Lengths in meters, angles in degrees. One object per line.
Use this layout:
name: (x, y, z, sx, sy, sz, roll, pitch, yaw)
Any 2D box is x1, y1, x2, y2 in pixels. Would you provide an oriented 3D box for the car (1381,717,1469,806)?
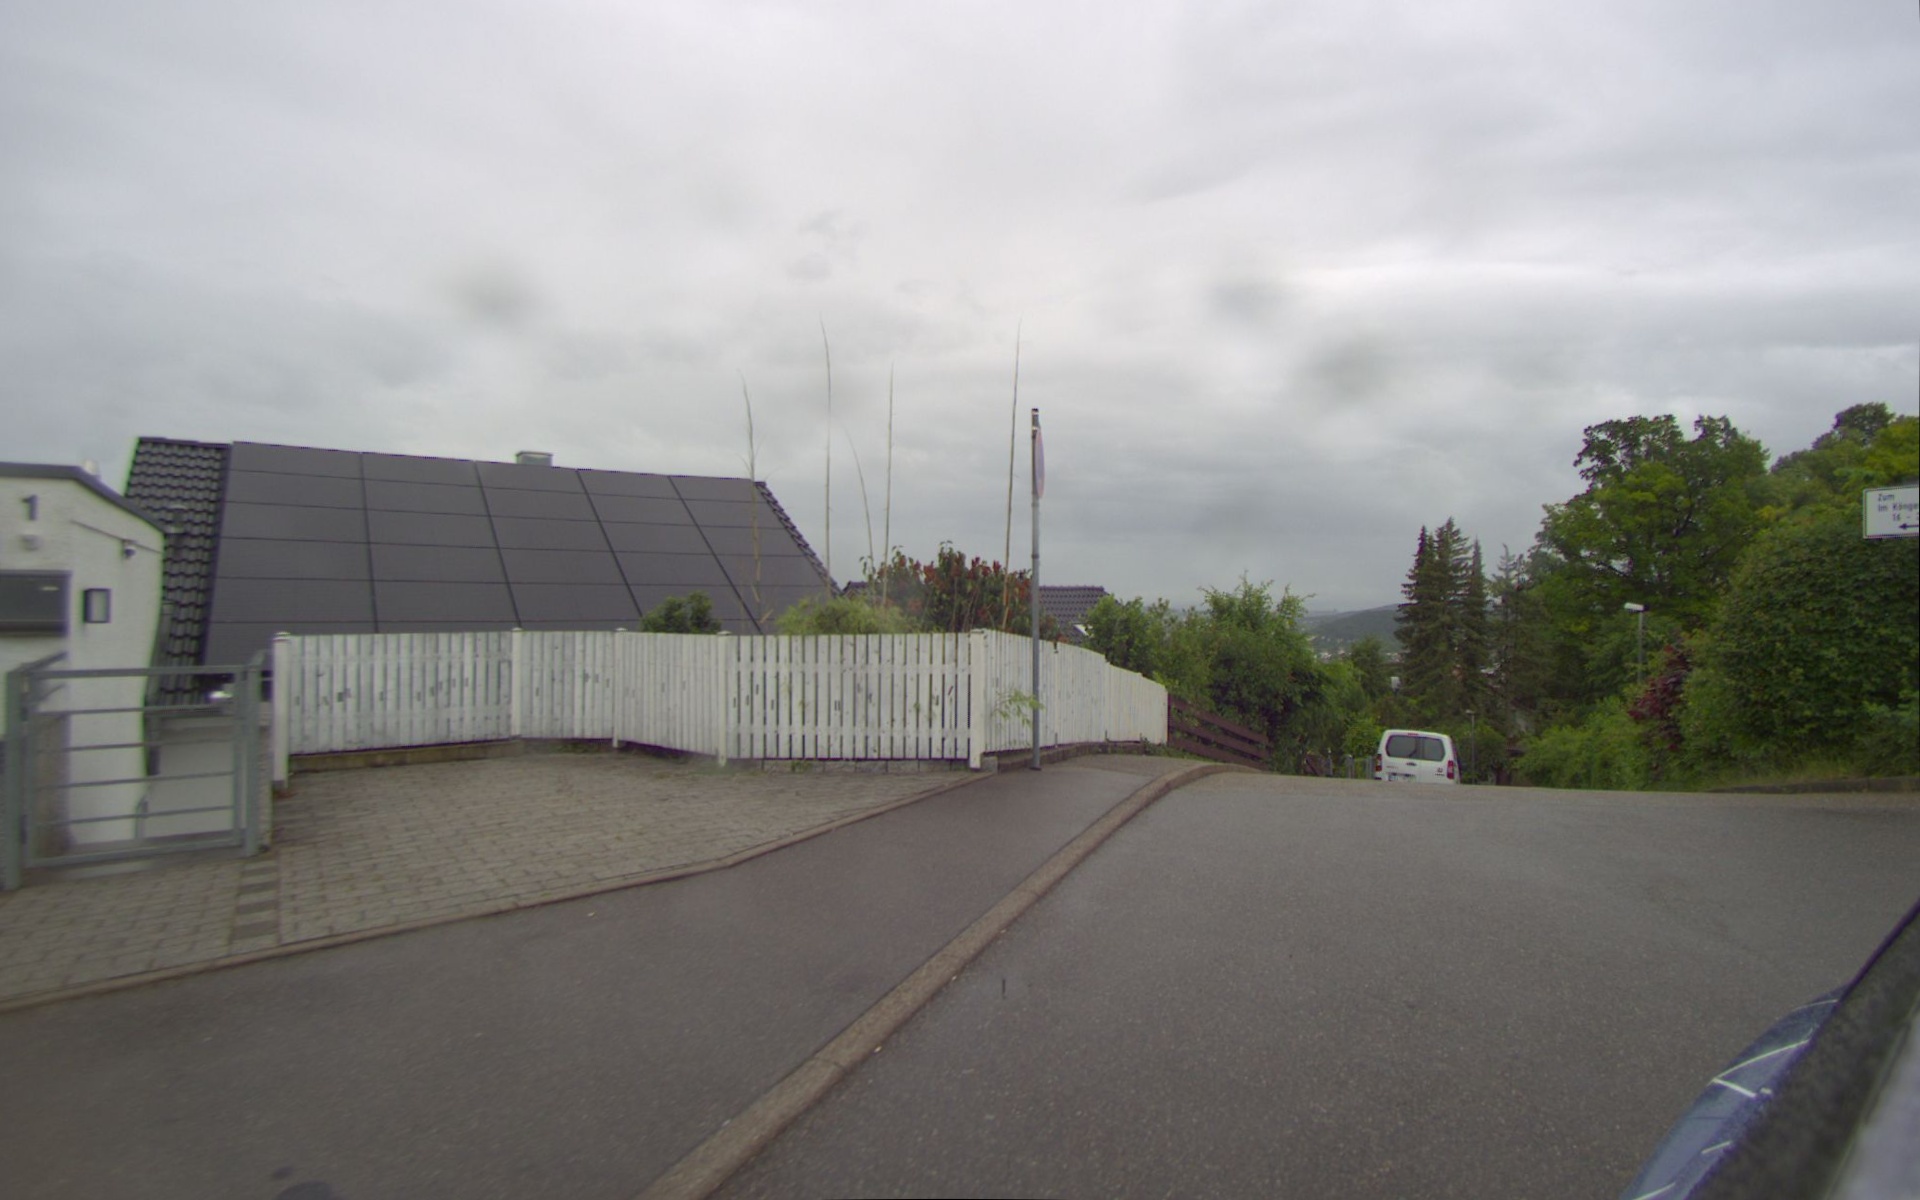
car: (11.358, 3.967, 24.587, 1.738, 1.765, 3.957, 0, -12, 28)
